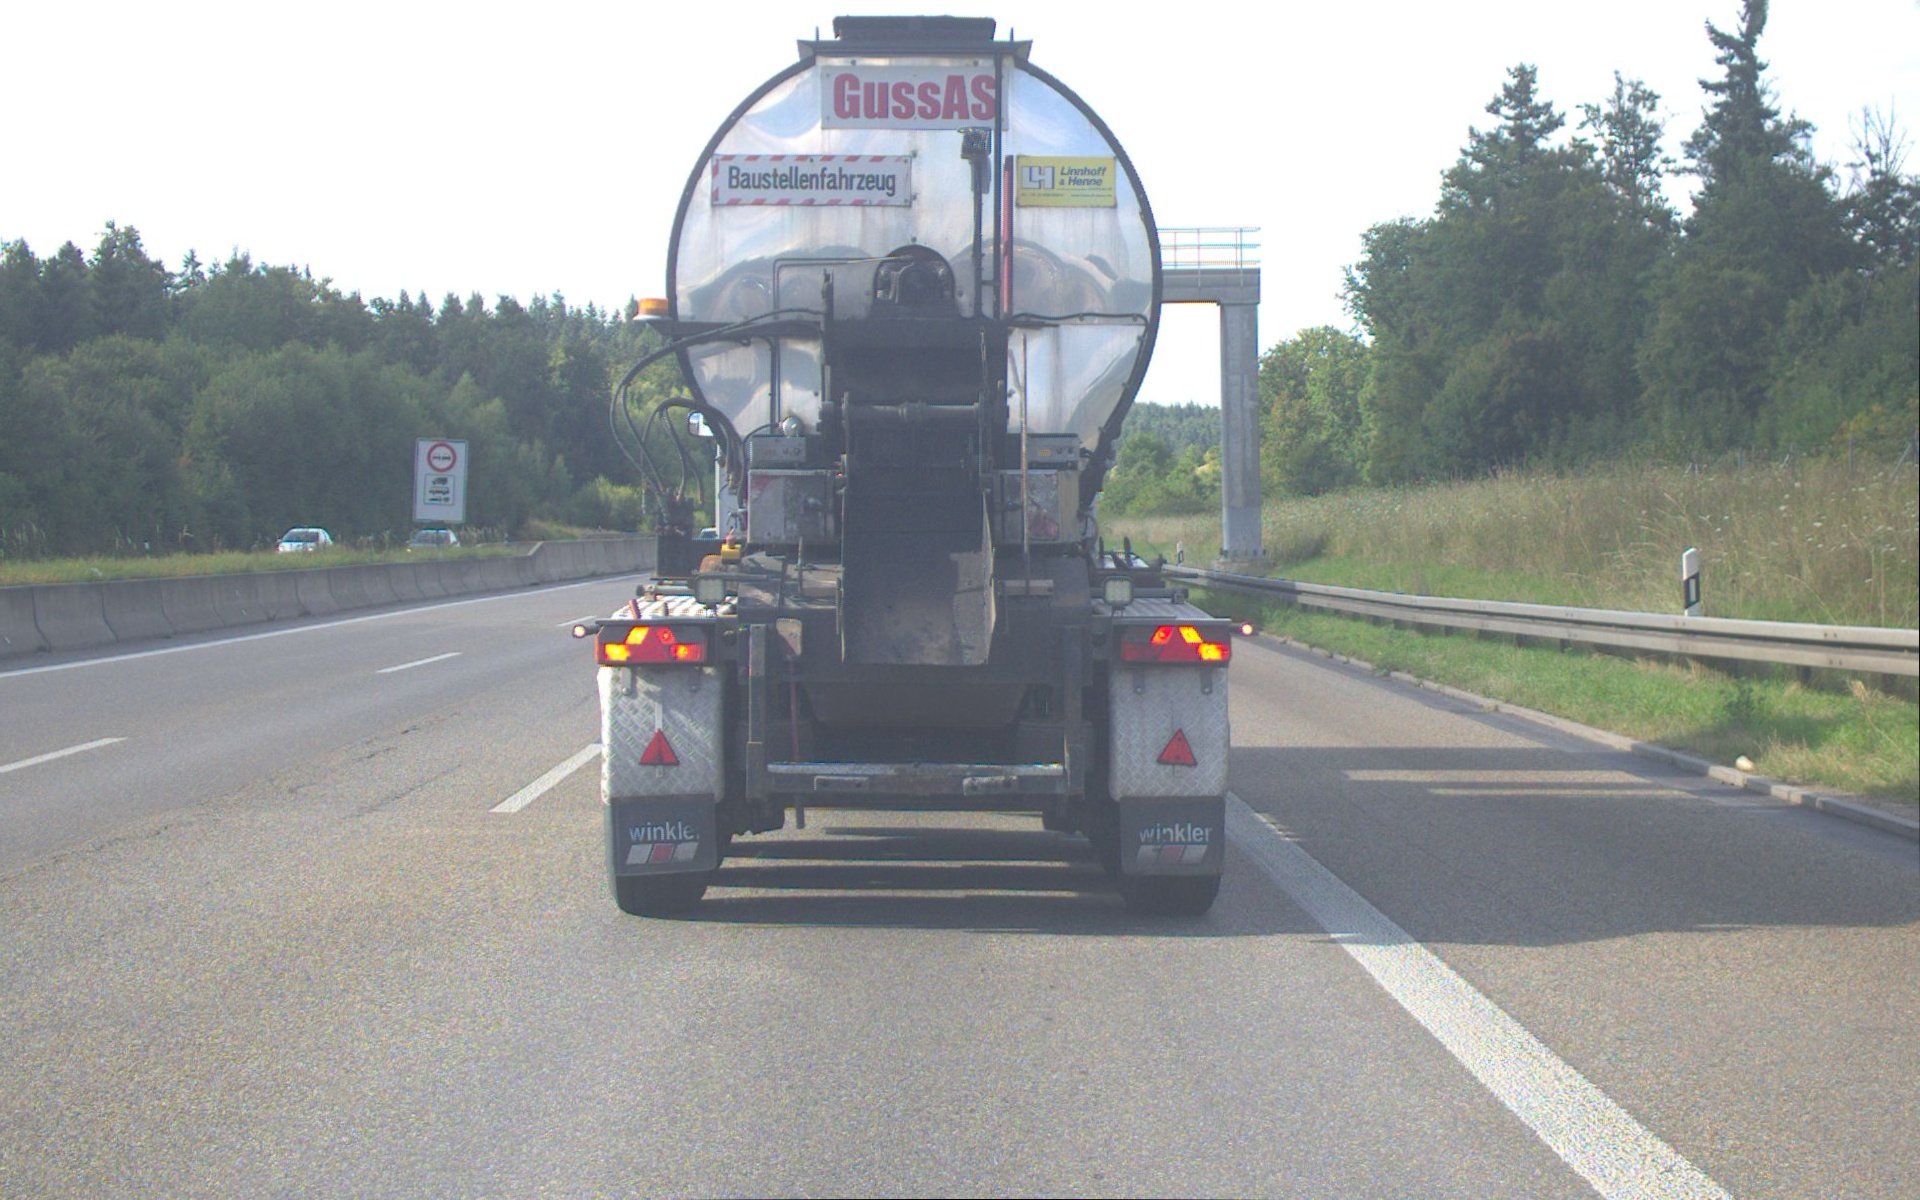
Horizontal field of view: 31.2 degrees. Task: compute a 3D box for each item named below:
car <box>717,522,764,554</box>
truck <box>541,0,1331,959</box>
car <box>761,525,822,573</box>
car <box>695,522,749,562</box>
[{"bbox_3d":[-9.967,-2.808,156.254,1.856,1.426,4.841,0,1,-1],"label":"car"},{"bbox_3d":[-0.146,-0.860,18.405,2.912,4.143,11.270,0,1,-1],"label":"truck"},{"bbox_3d":[-5.459,-1.670,111.817,1.835,1.512,4.333,0,1,-1],"label":"car"},{"bbox_3d":[-9.174,-2.233,132.567,1.835,1.512,4.333,0,1,-1],"label":"car"}]
